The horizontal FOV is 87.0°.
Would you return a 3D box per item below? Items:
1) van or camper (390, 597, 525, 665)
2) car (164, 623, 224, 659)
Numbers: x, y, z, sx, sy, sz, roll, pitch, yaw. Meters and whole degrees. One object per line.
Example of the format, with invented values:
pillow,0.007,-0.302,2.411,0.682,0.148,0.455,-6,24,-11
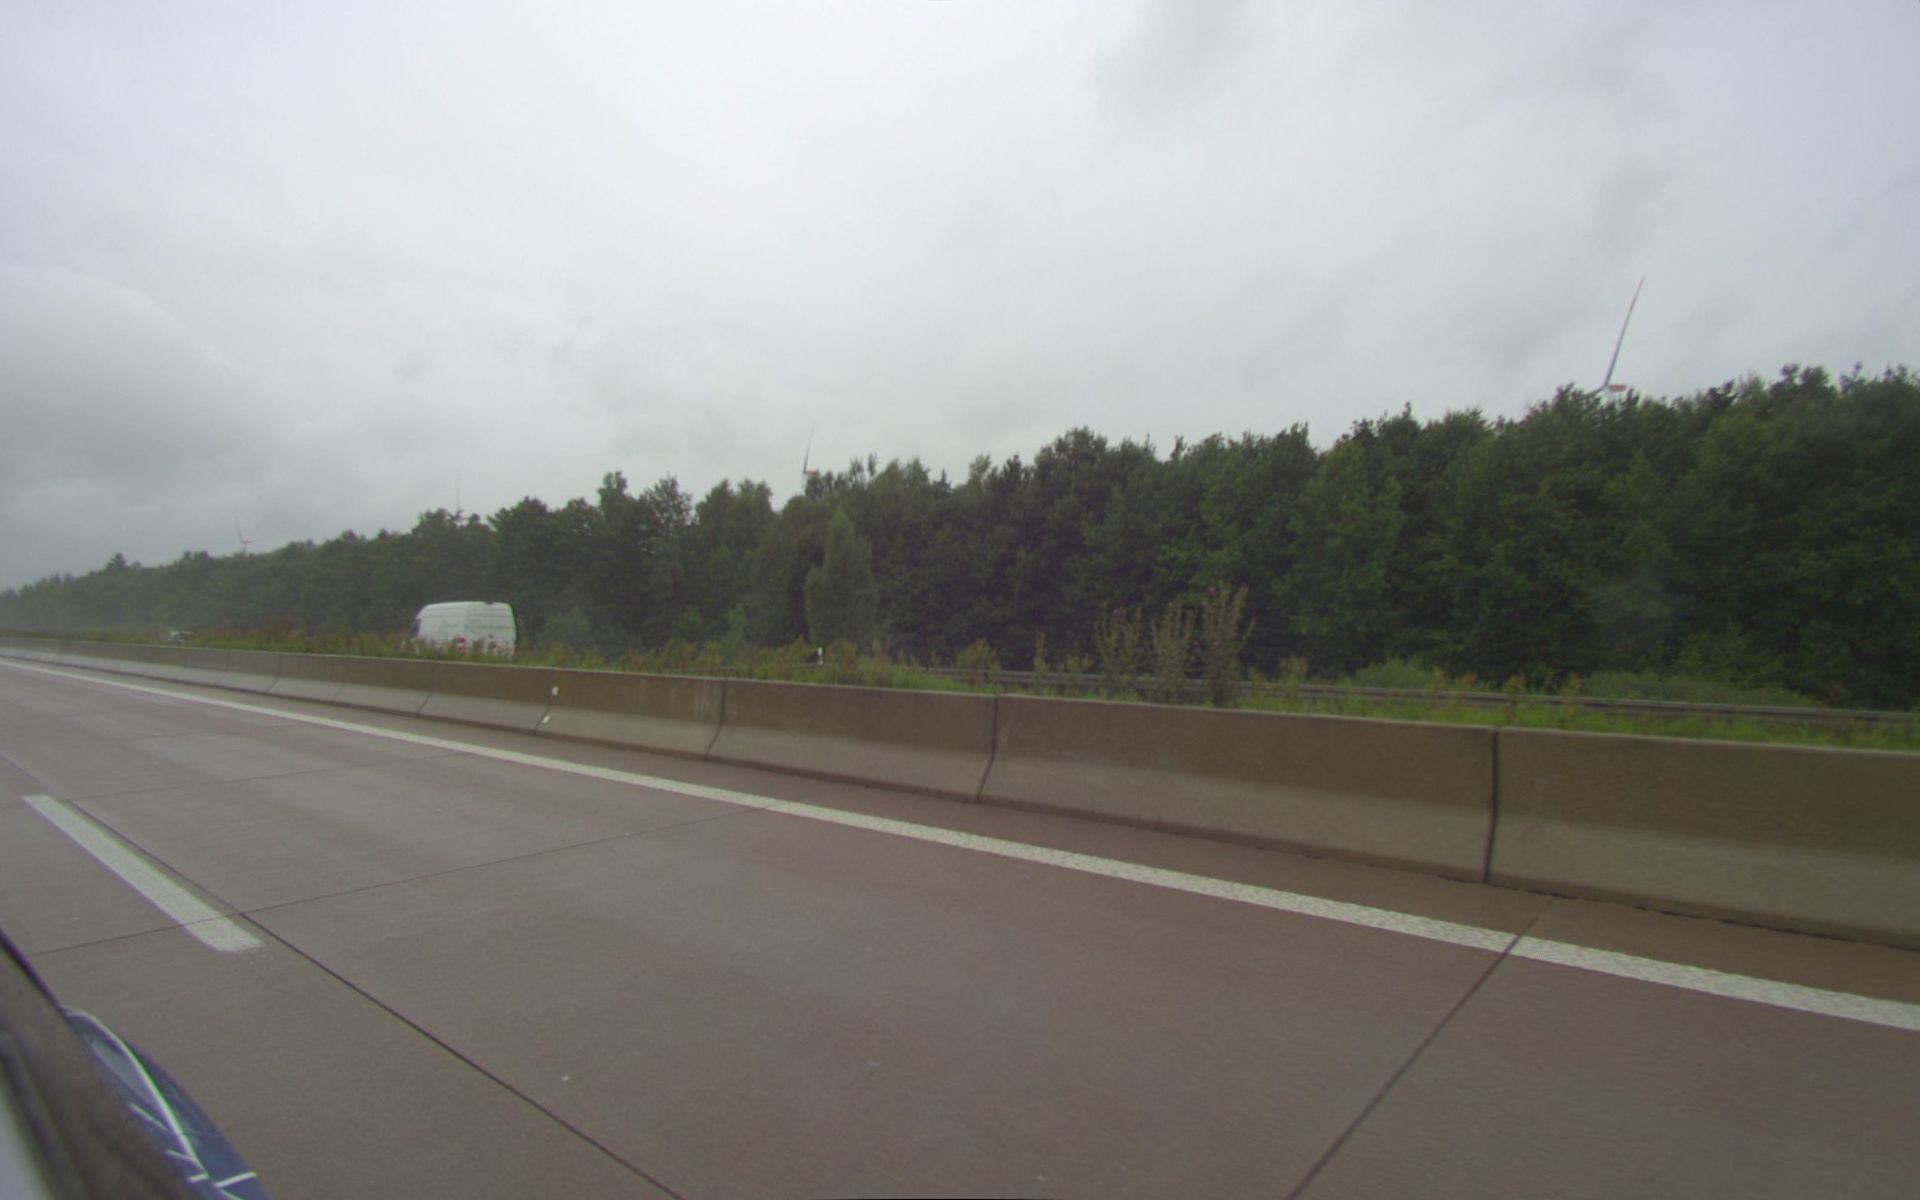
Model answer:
van or camper,-17.967,1.074,36.050,5.716,2.222,2.108,-1,-1,39
car,-45.803,2.417,60.481,3.996,2.029,1.974,-1,-1,39
